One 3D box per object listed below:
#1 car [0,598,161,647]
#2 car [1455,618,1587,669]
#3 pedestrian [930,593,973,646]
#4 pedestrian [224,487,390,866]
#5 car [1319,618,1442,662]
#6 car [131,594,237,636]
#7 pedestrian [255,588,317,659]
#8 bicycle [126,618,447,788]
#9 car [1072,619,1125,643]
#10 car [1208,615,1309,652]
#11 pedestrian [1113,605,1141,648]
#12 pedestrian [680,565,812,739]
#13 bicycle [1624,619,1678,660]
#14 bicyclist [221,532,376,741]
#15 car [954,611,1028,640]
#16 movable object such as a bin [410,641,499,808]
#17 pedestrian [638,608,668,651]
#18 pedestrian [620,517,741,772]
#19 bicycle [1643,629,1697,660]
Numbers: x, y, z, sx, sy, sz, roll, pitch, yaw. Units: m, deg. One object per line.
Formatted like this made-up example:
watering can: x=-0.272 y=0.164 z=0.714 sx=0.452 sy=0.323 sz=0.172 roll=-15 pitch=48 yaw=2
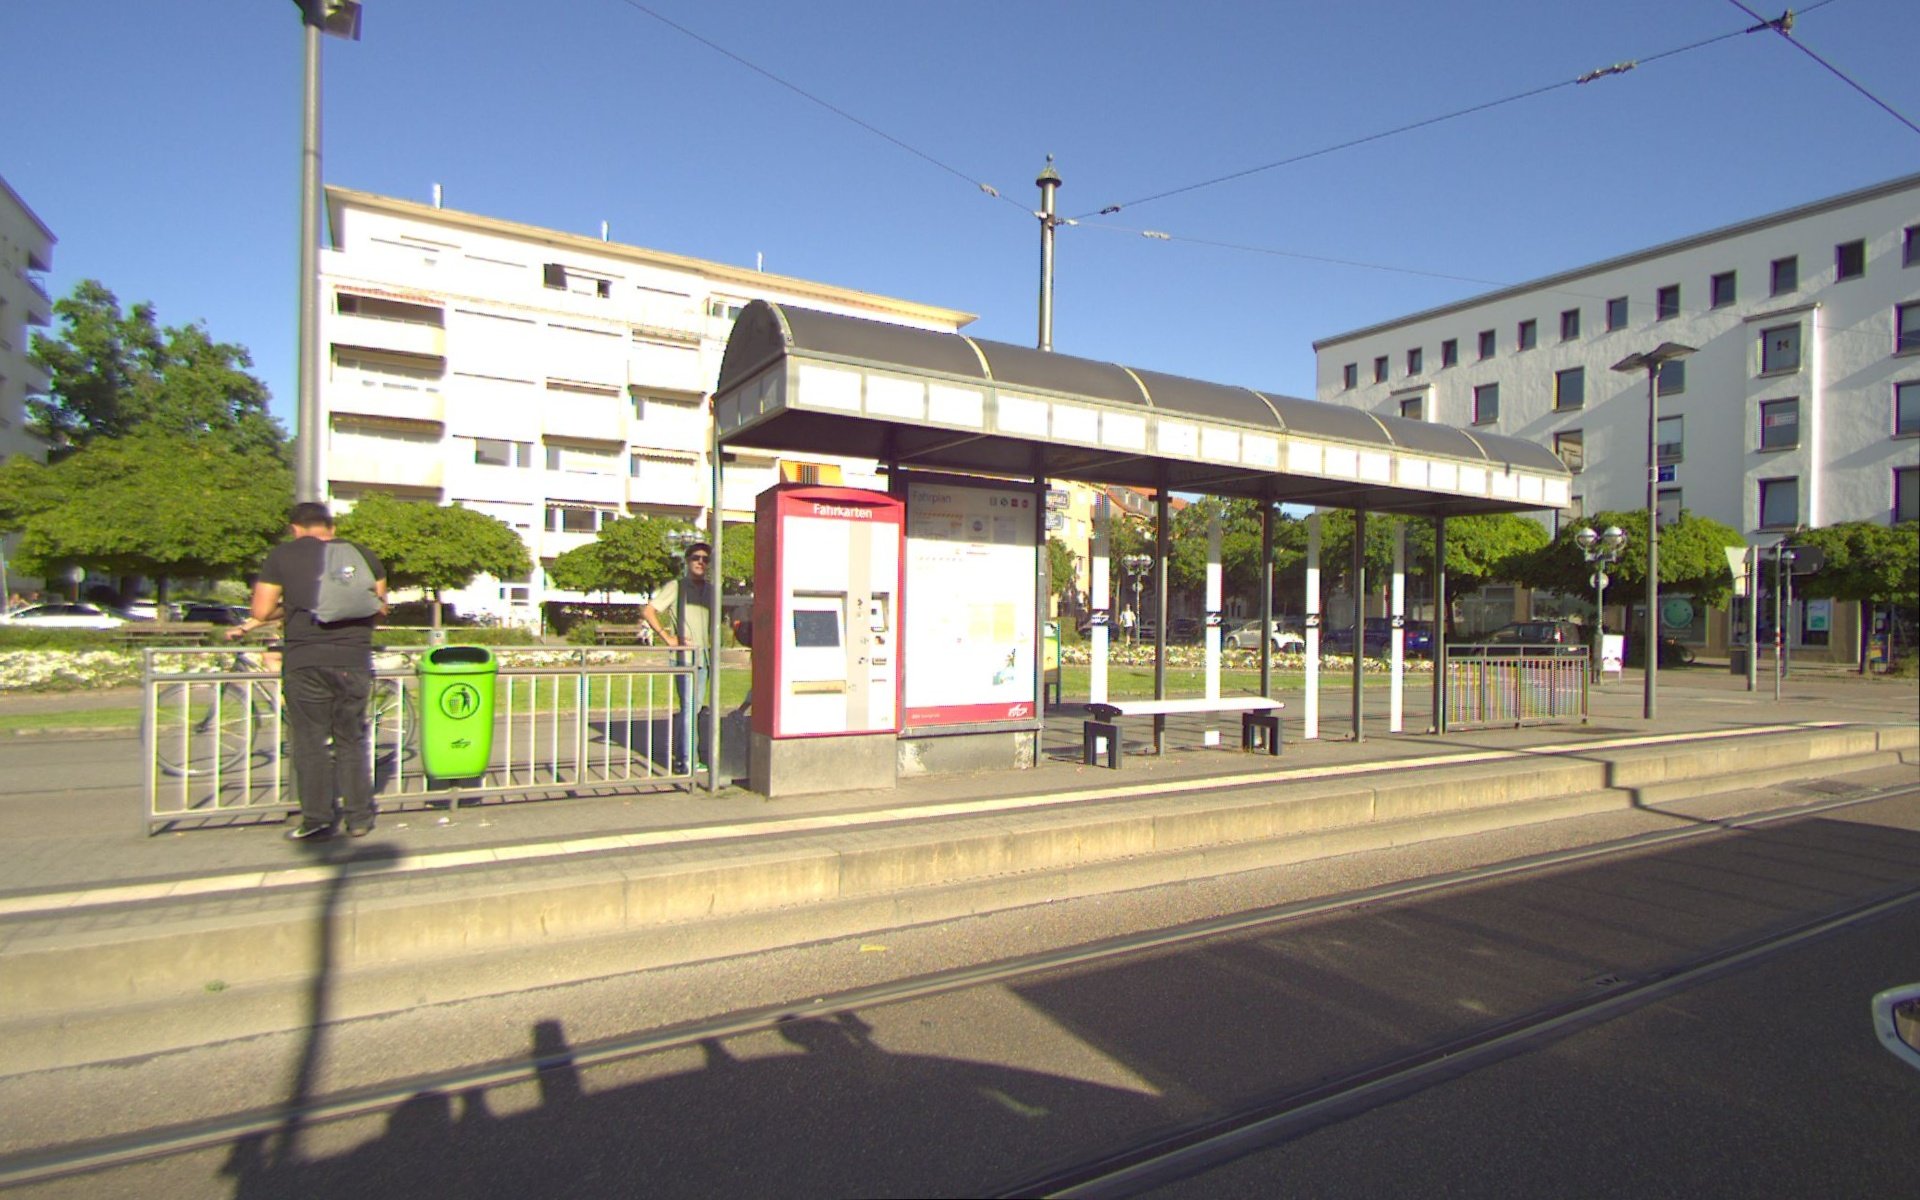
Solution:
car: x=-25.595 y=0.644 z=29.002 sx=3.672 sy=1.318 sz=1.984 roll=1 pitch=-1 yaw=-30
car: x=21.049 y=1.597 z=37.830 sx=1.804 sy=1.728 sz=3.968 roll=1 pitch=-1 yaw=-30
pedestrian: x=-0.334 y=0.756 z=39.570 sx=1.219 sy=2.040 sz=1.214 roll=1 pitch=-1 yaw=-30
pedestrian: x=-3.217 y=0.362 z=5.002 sx=0.599 sy=1.740 sz=0.546 roll=1 pitch=-3 yaw=-28
car: x=17.846 y=1.661 z=42.818 sx=1.978 sy=1.684 sz=4.581 roll=1 pitch=-1 yaw=-31
car: x=-28.619 y=0.555 z=37.136 sx=2.899 sy=1.506 sz=1.407 roll=1 pitch=-1 yaw=-30
pedestrian: x=-17.574 y=0.617 z=26.231 sx=1.161 sy=1.811 sz=1.074 roll=1 pitch=0 yaw=-26
bicycle: x=-5.092 y=0.724 z=7.684 sx=1.961 sy=1.128 sz=0.722 roll=2 pitch=0 yaw=-41
car: x=9.292 y=2.061 z=67.101 sx=1.887 sy=1.514 sz=4.343 roll=2 pitch=0 yaw=31
car: x=14.194 y=1.554 z=47.980 sx=1.835 sy=1.628 sz=4.581 roll=1 pitch=-1 yaw=-31
pedestrian: x=7.182 y=1.134 z=43.225 sx=0.856 sy=1.841 sz=0.944 roll=1 pitch=0 yaw=-19
pedestrian: x=-2.213 y=0.525 z=10.482 sx=0.977 sy=1.702 sz=0.974 roll=-1 pitch=-2 yaw=20
bicycle: x=27.867 y=1.601 z=40.494 sx=2.585 sy=1.628 sz=0.616 roll=1 pitch=-1 yaw=-26
bicyclist: x=-5.070 y=0.263 z=7.696 sx=0.870 sy=1.475 sz=0.820 roll=2 pitch=0 yaw=-41
car: x=1.528 y=1.258 z=49.328 sx=3.271 sy=1.372 sz=1.638 roll=1 pitch=-1 yaw=-29
movable object such as a bin: x=-2.793 y=0.668 z=5.558 sx=0.411 sy=0.871 sz=0.335 roll=1 pitch=-1 yaw=-27
pedestrian: x=-10.275 y=0.981 z=33.588 sx=0.673 sy=1.378 sz=1.042 roll=1 pitch=-1 yaw=-34
pedestrian: x=-2.095 y=0.330 z=7.513 sx=0.760 sy=1.797 sz=0.613 roll=1 pitch=-3 yaw=-28
bicycle: x=28.192 y=1.755 z=39.850 sx=2.586 sy=1.206 sz=0.615 roll=1 pitch=-1 yaw=-27
